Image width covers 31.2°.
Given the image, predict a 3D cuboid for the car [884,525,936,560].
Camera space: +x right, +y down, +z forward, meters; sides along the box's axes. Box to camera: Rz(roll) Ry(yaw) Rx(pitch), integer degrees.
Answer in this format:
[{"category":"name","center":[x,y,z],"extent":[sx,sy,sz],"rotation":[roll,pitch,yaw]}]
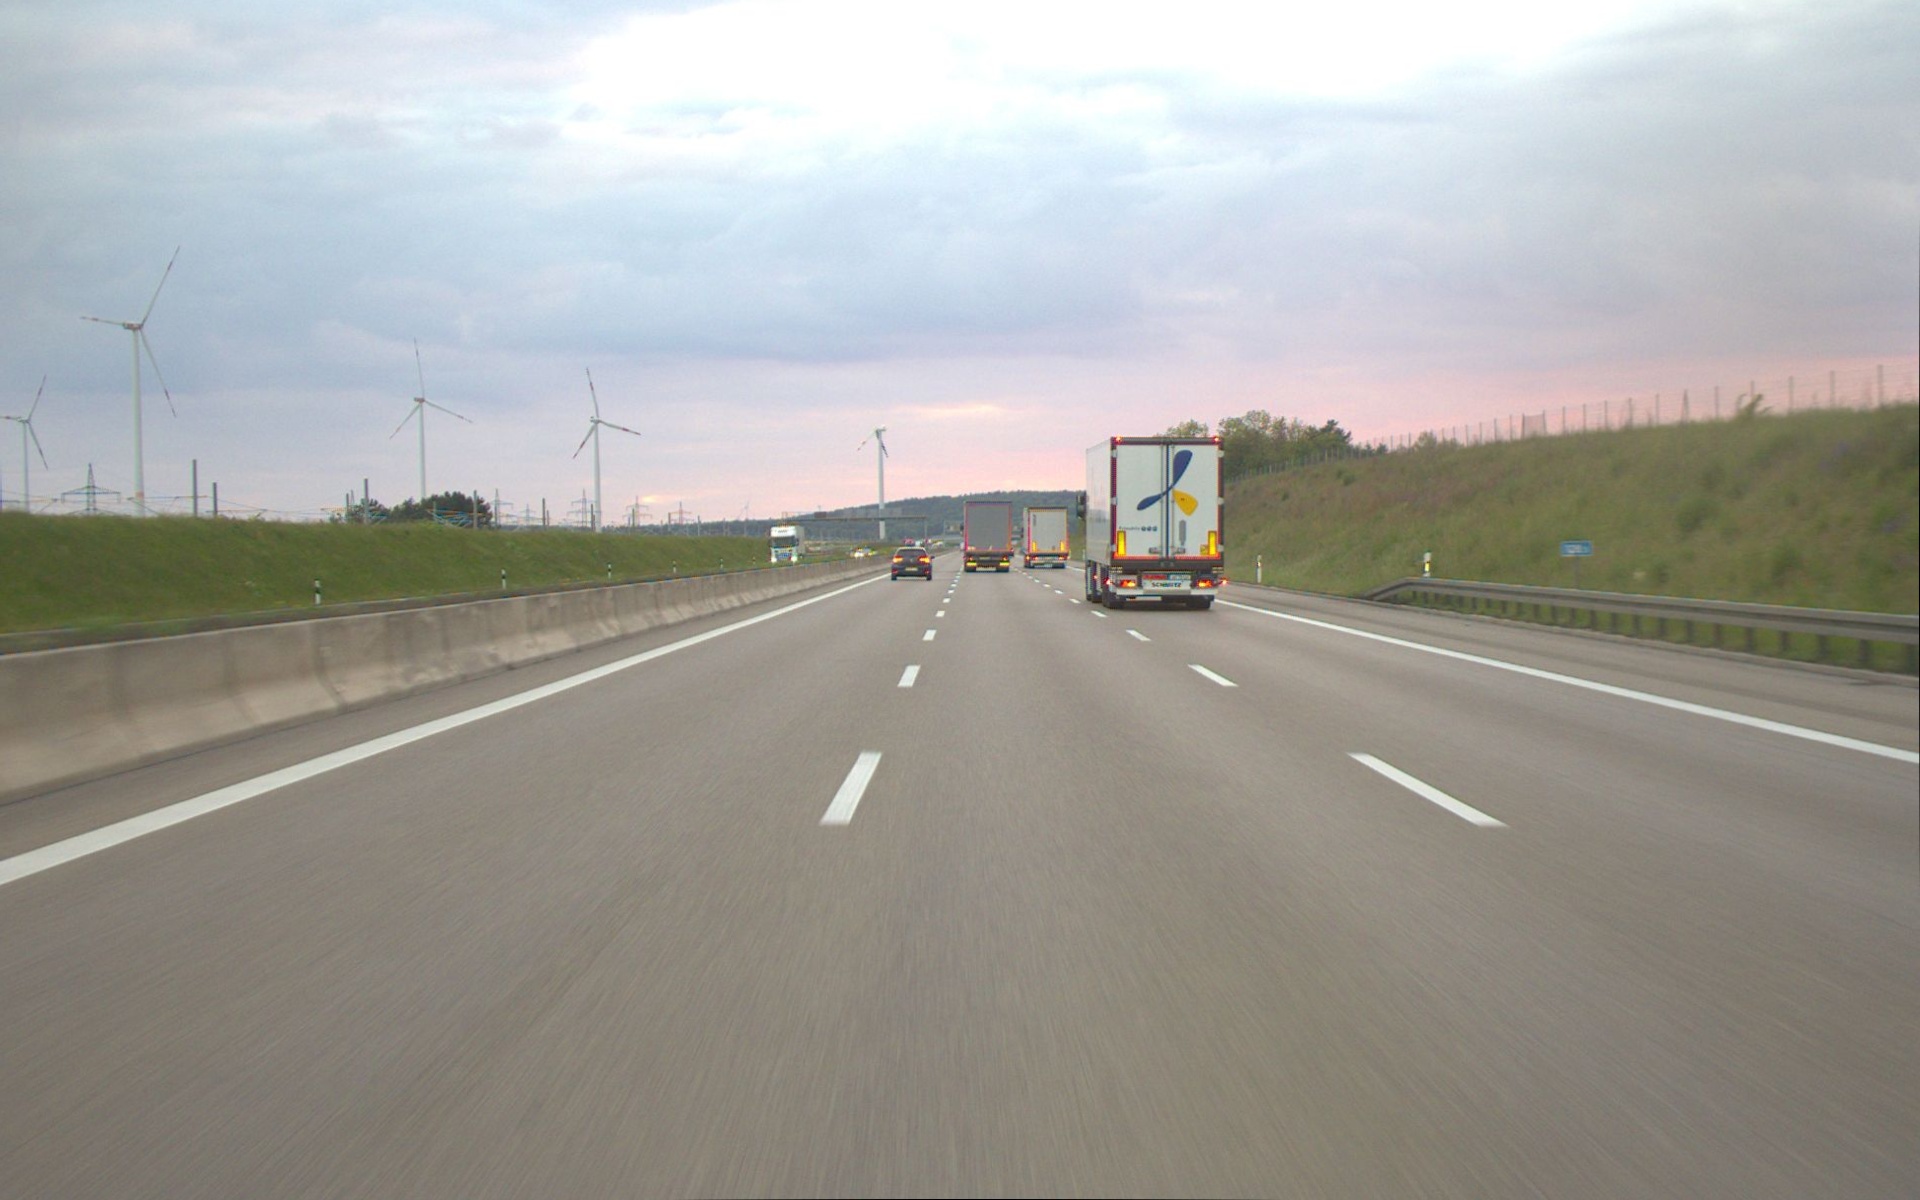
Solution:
[{"category":"car","center":[-2.148,-2.493,149.159],"extent":[1.988,1.425,4.000],"rotation":[-1,2,3]}]

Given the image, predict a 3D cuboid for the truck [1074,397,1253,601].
[{"category":"truck","center":[4.812,-2.449,83.689],"extent":[3.675,4.549,10.982],"rotation":[-1,2,0]}]

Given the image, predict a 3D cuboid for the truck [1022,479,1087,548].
[{"category":"truck","center":[6.222,-5.738,227.766],"extent":[3.966,4.399,8.636],"rotation":[-1,1,0]}]

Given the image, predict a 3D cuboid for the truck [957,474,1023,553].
[{"category":"truck","center":[1.656,-4.882,194.101],"extent":[3.647,4.399,8.636],"rotation":[0,1,0]}]
